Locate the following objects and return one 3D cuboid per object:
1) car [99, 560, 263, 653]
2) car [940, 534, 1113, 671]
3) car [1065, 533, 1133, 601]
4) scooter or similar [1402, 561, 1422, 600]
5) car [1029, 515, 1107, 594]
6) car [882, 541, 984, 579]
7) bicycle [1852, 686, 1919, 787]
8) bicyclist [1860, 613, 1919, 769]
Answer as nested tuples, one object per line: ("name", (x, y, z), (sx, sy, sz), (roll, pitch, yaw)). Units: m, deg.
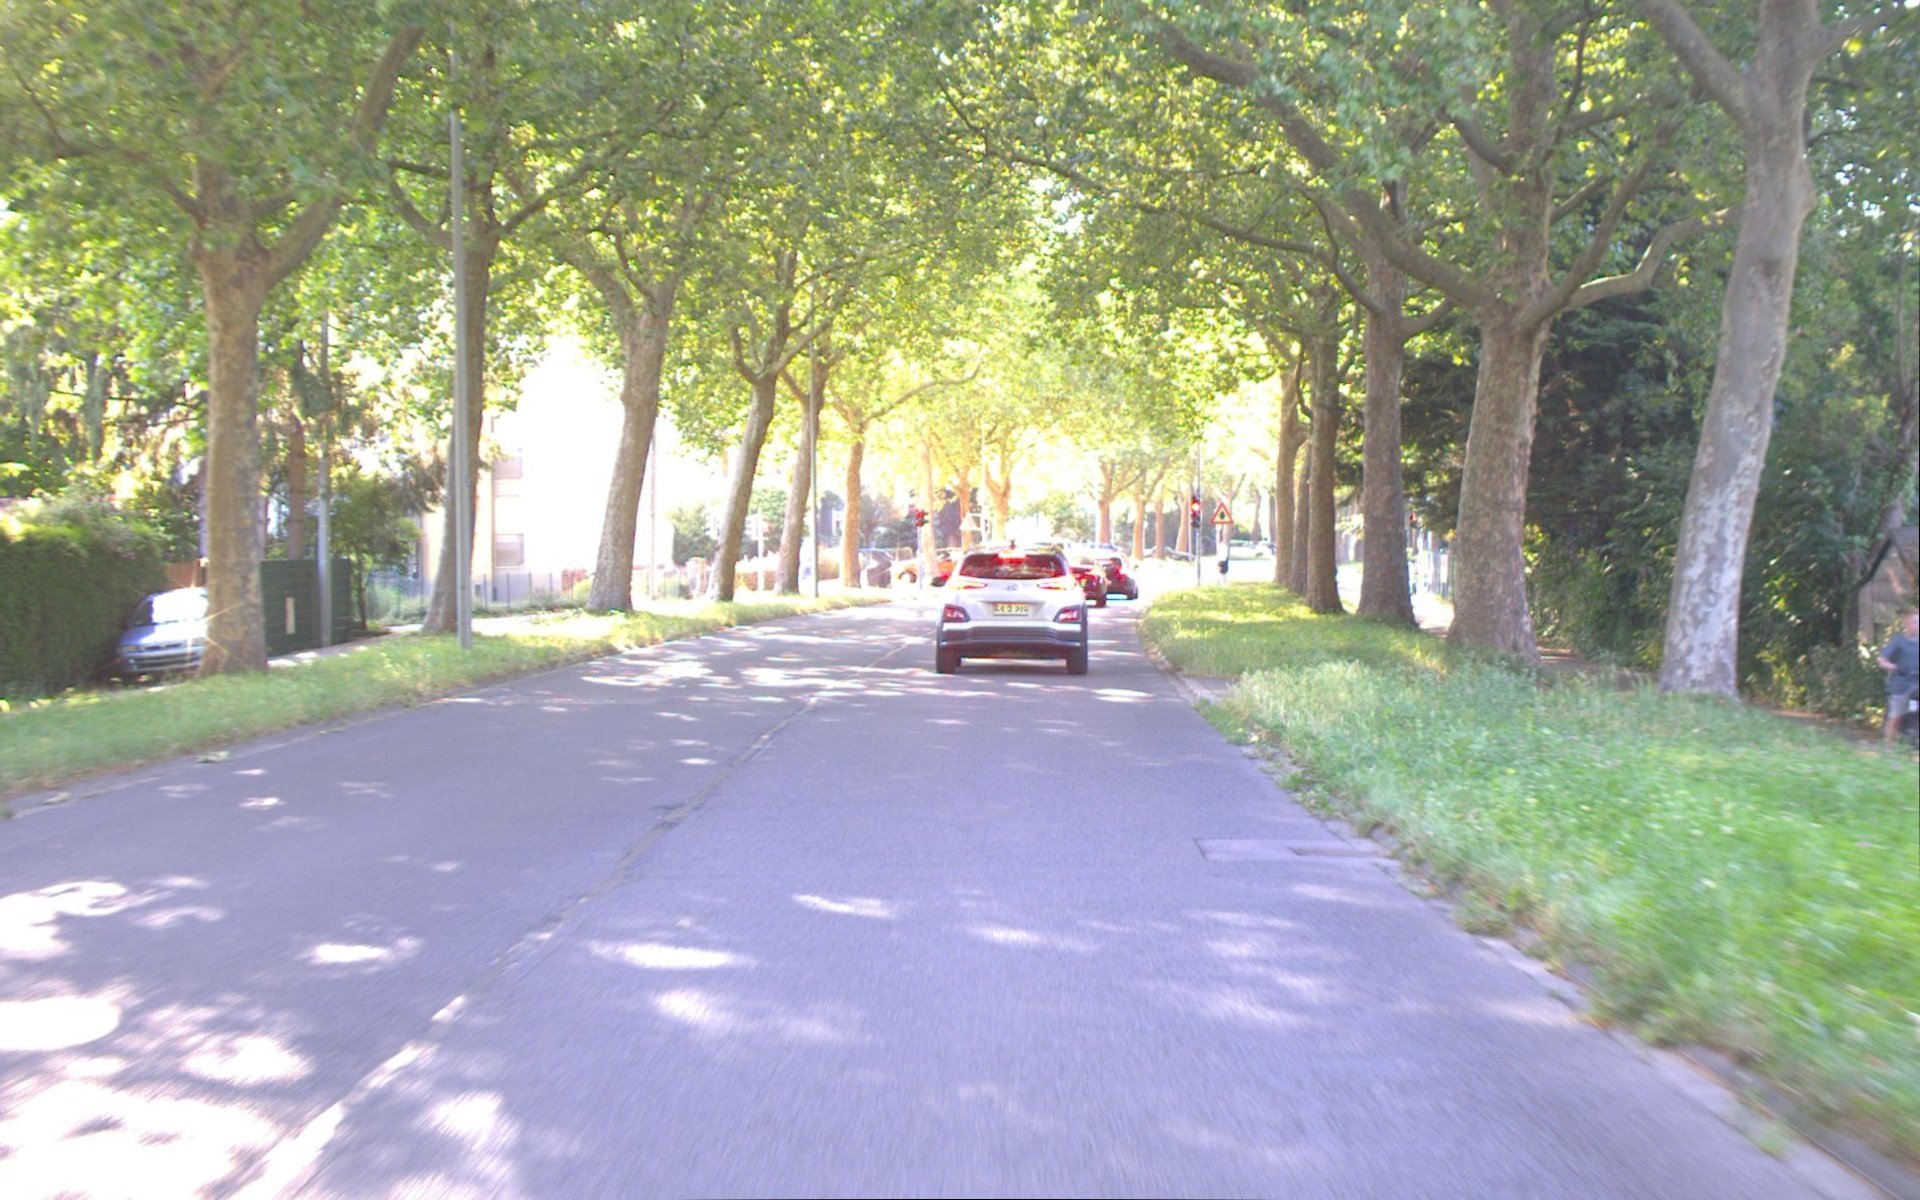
("car", (-12.260, 0.074, 54.345), (1.752, 1.300, 4.001), (-1, 2, -1))
("car", (0.847, 0.012, 42.191), (1.993, 1.569, 4.000), (1, 1, 2))
("car", (4.230, -1.000, 104.889), (1.993, 2.007, 4.000), (1, 0, 2))
("scooter or similar", (15.081, -0.651, 114.681), (0.549, 1.254, 2.312), (1, 0, 6))
("car", (2.879, -1.195, 91.025), (1.994, 2.007, 4.000), (1, 0, 2))
("car", (-1.085, -1.629, 141.261), (3.988, 1.473, 2.000), (1, 0, 5))
("bicycle", (8.542, 1.217, 30.804), (0.552, 0.814, 1.889), (1, 0, -2))
("bicyclist", (8.531, 0.809, 30.712), (0.734, 1.361, 0.771), (1, 0, -3))
